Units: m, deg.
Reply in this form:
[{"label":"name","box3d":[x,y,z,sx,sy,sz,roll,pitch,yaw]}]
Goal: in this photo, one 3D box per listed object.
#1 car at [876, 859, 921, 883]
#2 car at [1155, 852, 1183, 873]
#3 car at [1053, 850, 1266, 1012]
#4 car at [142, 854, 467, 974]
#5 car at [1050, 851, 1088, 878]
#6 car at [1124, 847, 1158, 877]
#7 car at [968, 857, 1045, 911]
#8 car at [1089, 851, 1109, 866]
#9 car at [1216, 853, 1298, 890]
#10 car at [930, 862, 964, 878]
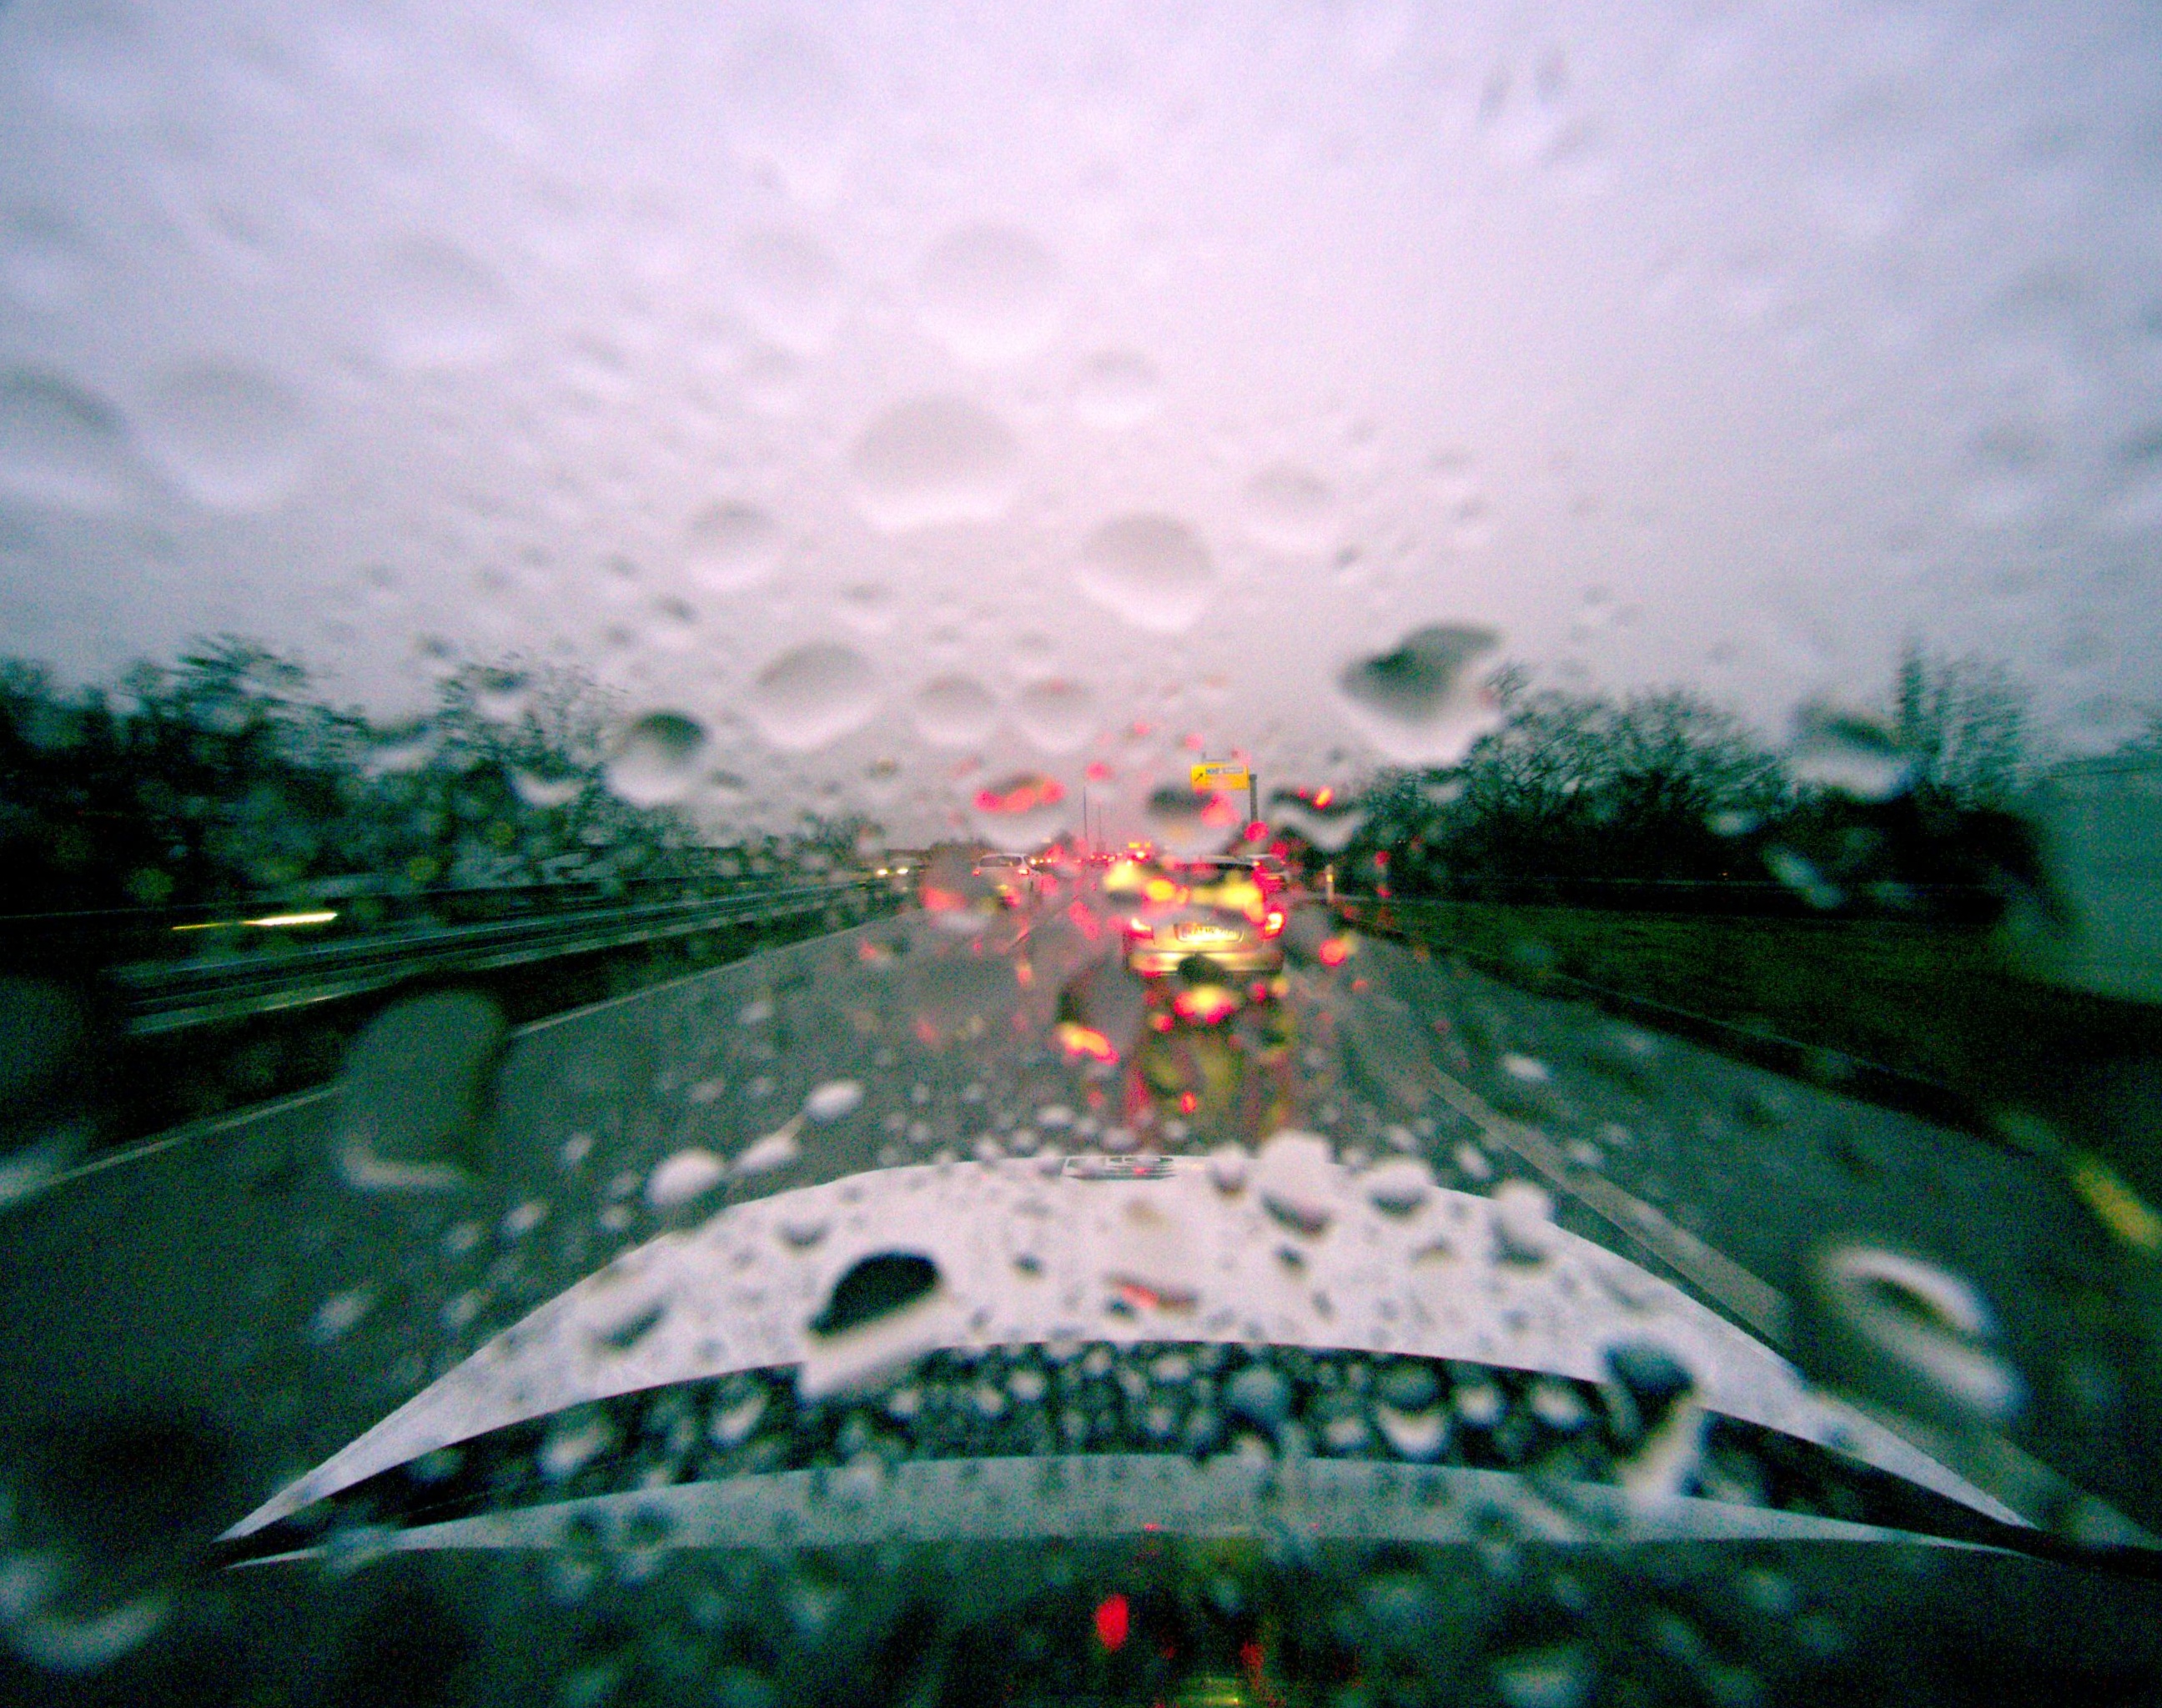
[{"label":"car","box3d":[-12.849,1.183,57.522,1.832,1.562,4.687,-1,0,3]},{"label":"car","box3d":[6.835,0.647,63.339,1.783,1.545,4.001,-2,0,1]},{"label":"car","box3d":[0.880,0.740,9.830,1.985,1.500,4.142,-2,0,4]},{"label":"car","box3d":[-14.251,0.980,15.398,1.987,1.918,4.287,-1,0,0]},{"label":"car","box3d":[-0.724,0.619,50.852,1.984,1.601,4.314,0,0,4]},{"label":"car","box3d":[3.632,0.456,49.861,1.890,1.767,4.310,-1,0,2]},{"label":"car","box3d":[-2.165,0.831,24.764,1.717,1.440,4.229,-1,0,3]},{"label":"car","box3d":[1.922,0.426,87.207,1.780,1.545,4.007,-1,0,6]},{"label":"car","box3d":[7.113,0.674,33.310,1.992,1.345,3.989,-1,0,-8]},{"label":"car","box3d":[-12.368,1.453,75.418,1.775,1.404,4.322,-1,0,10]}]
